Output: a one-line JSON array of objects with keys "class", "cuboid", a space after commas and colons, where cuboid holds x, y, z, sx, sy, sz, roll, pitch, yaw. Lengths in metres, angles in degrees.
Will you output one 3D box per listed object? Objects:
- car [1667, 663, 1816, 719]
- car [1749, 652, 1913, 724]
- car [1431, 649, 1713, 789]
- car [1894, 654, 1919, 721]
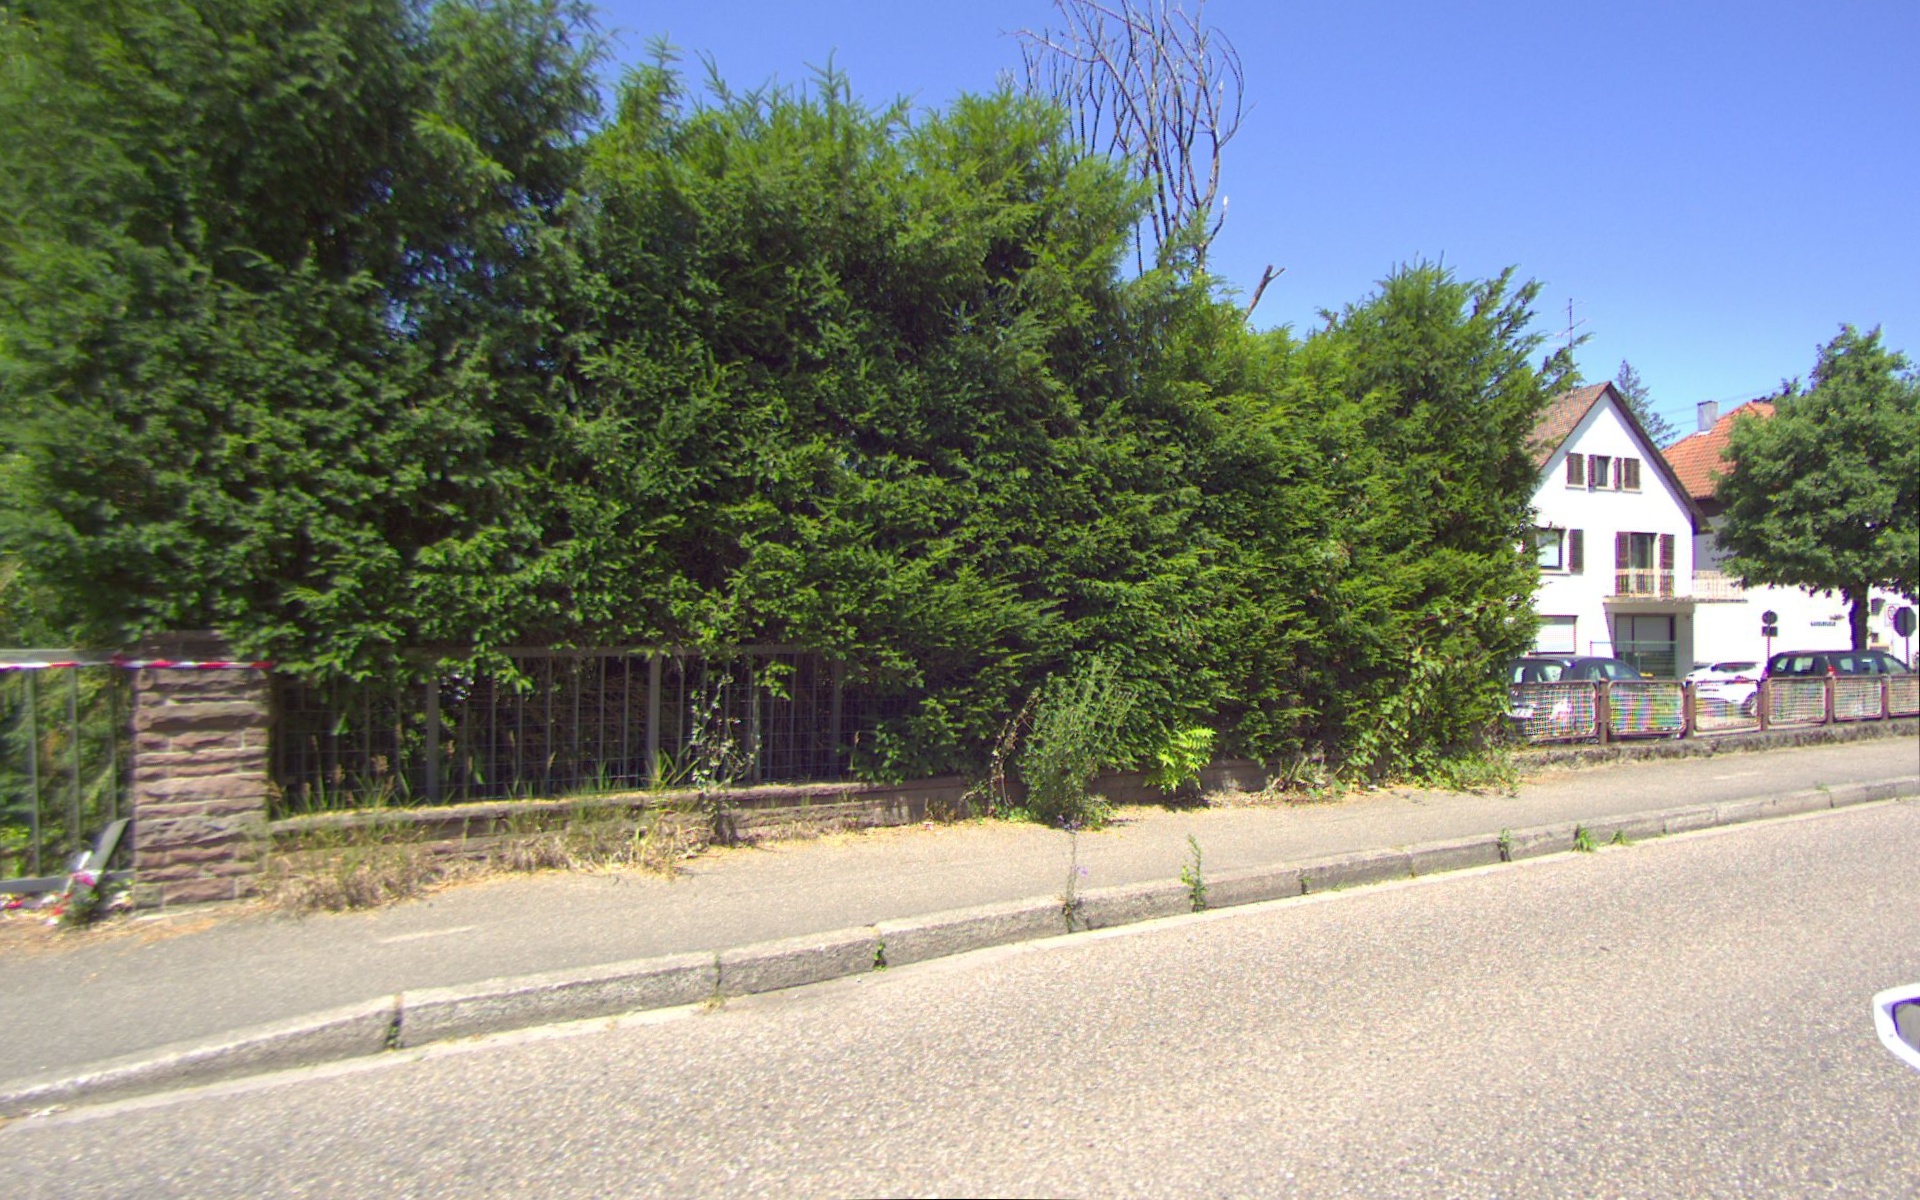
[{"class": "car", "cuboid": [20.647, 2.371, 26.548, 3.486, 1.350, 1.656, 2, -3, -24]}, {"class": "car", "cuboid": [20.838, 2.063, 24.038, 3.486, 1.596, 1.656, 2, -3, -24]}, {"class": "car", "cuboid": [8.178, 1.480, 13.401, 3.493, 1.617, 1.768, 2, -3, -30]}, {"class": "car", "cuboid": [22.037, 1.891, 21.589, 3.486, 1.407, 1.656, 2, -3, -24]}]
